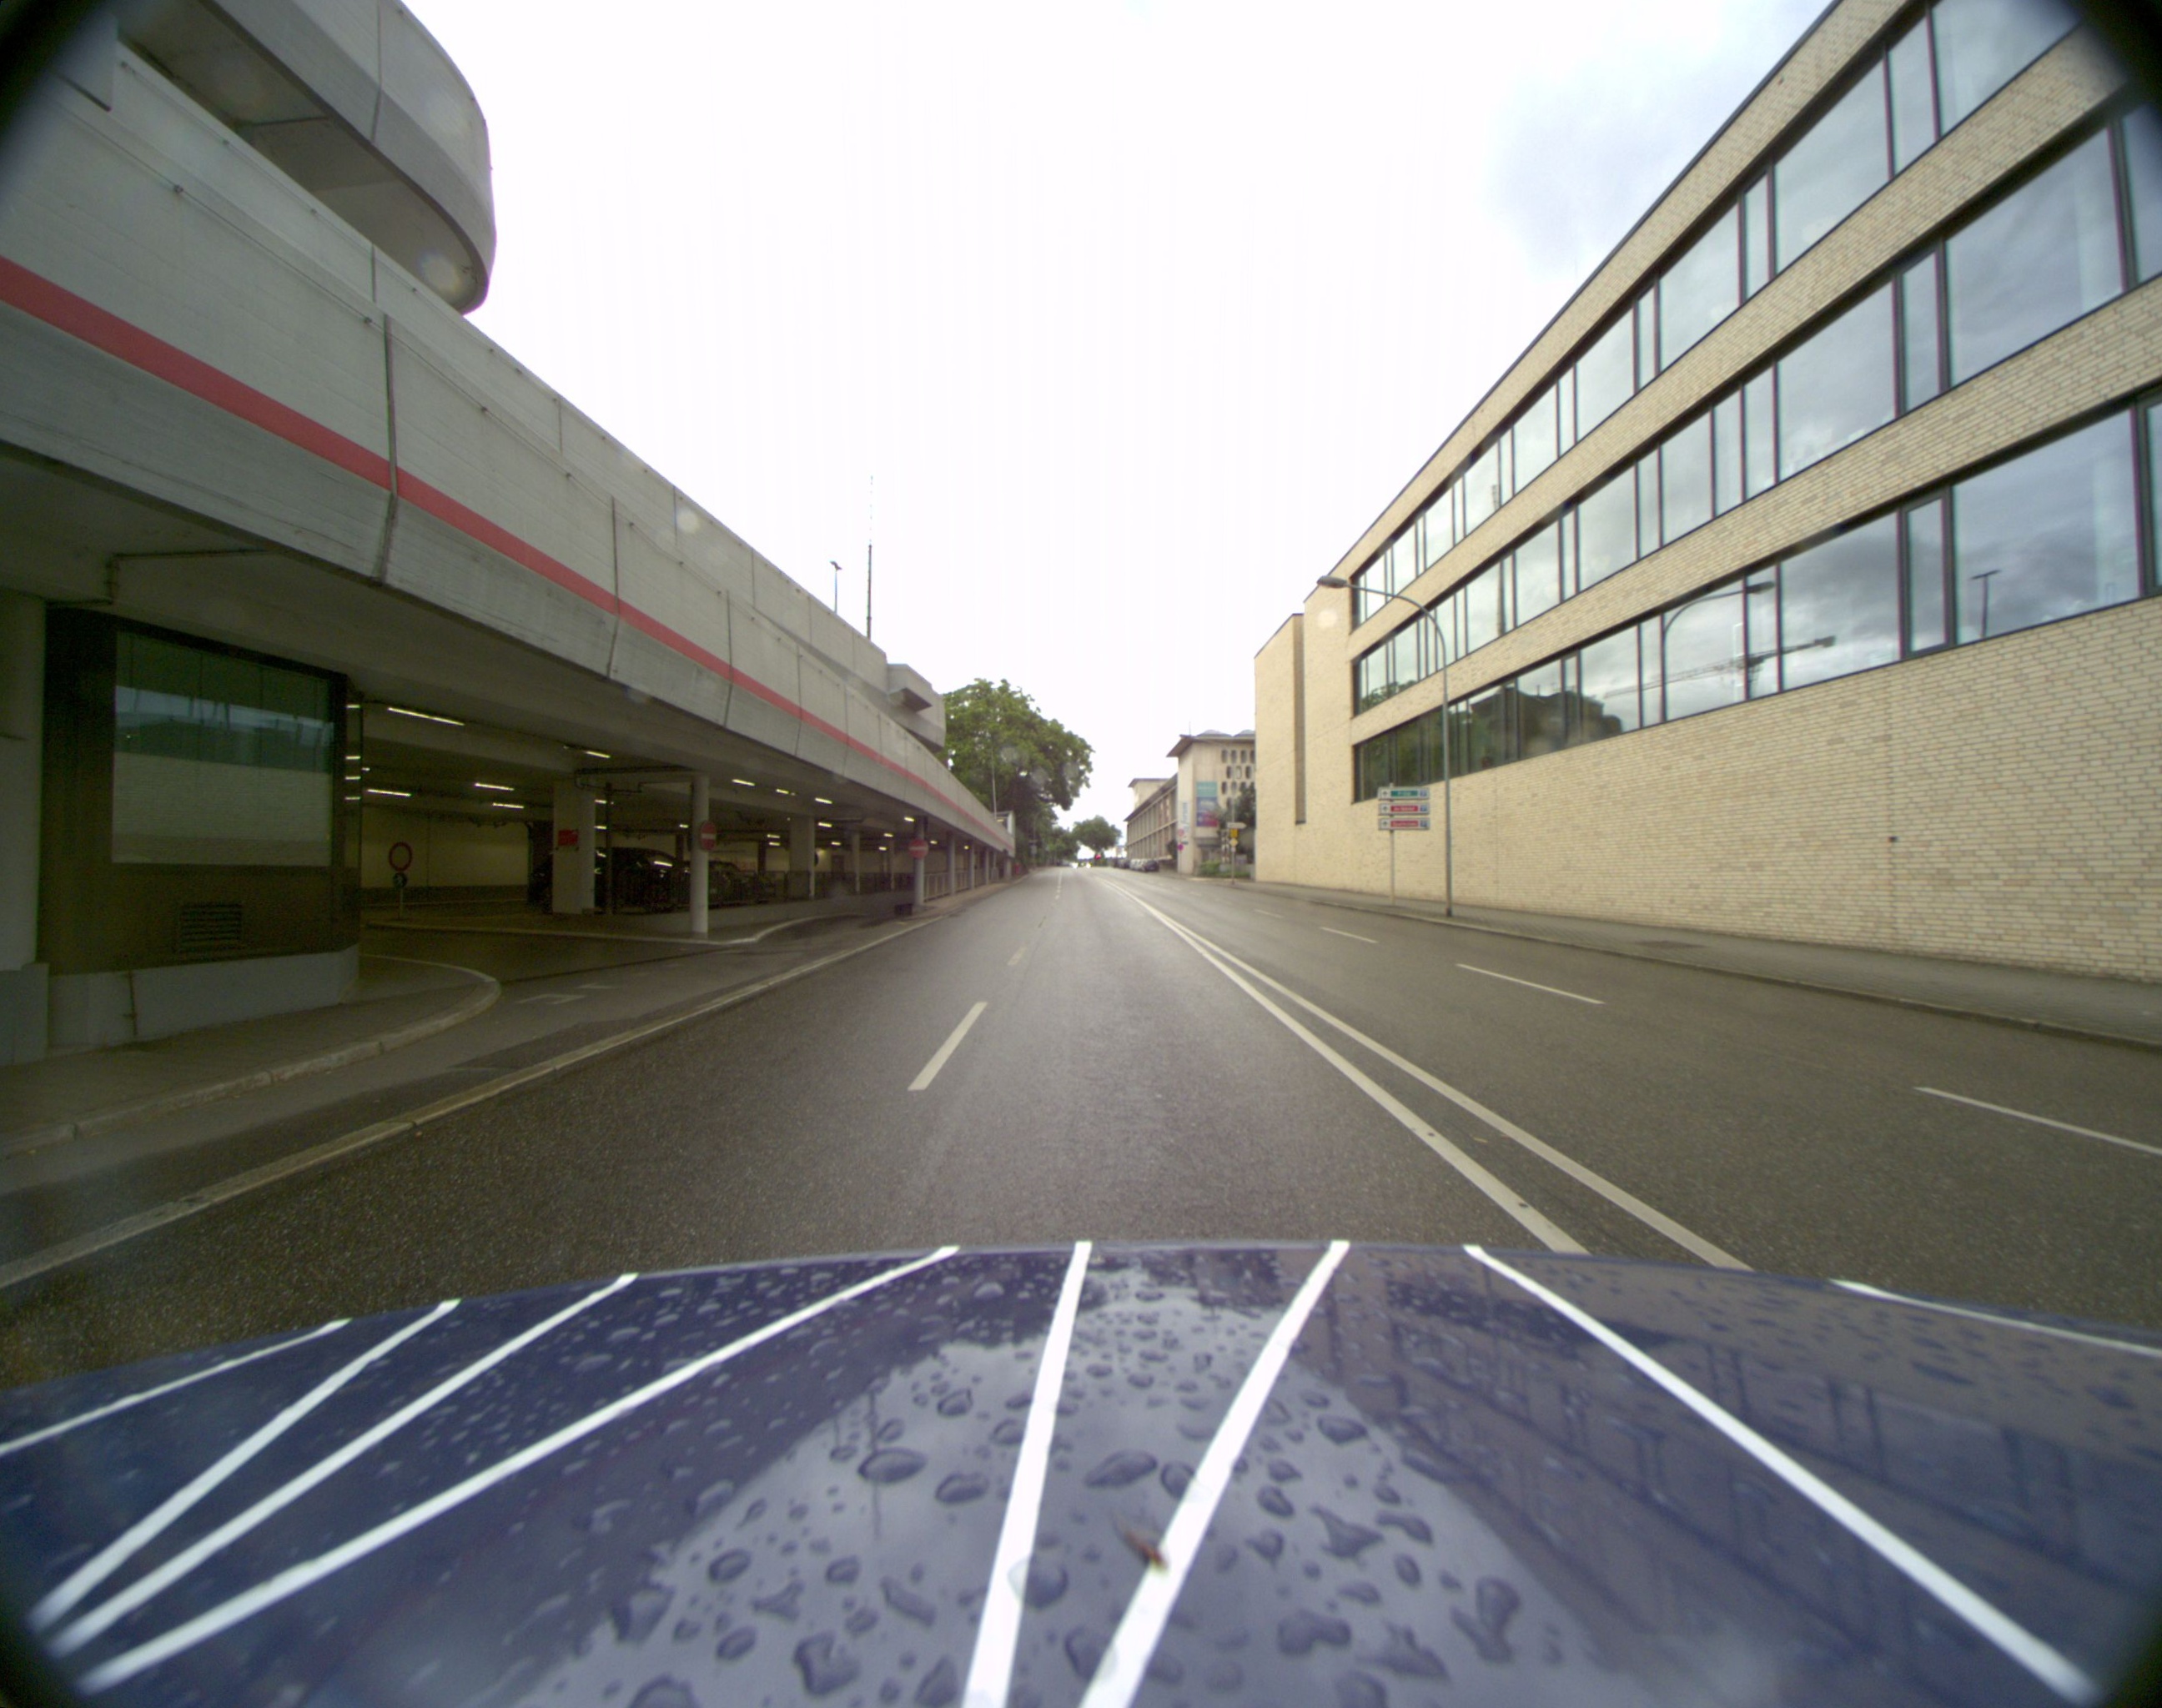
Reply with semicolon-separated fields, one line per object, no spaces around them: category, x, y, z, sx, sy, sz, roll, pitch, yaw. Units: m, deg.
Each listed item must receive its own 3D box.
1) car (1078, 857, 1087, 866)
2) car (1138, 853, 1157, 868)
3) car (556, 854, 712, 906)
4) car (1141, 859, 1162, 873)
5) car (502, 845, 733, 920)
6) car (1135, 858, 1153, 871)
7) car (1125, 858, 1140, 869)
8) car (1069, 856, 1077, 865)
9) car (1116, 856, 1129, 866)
car;0.300;1.840;191.851;1.806;2.002;3.997;-2;1;-6
car;8.398;0.813;96.552;1.999;1.632;3.999;-2;1;-1
car;-13.581;0.790;23.209;3.730;1.496;1.808;0;-1;5
car;8.445;1.436;90.989;1.999;1.520;3.999;-2;1;-2
car;-11.296;0.663;18.699;4.585;1.630;1.822;-2;1;5
car;8.441;1.419;101.863;1.998;1.503;3.999;-2;1;0
car;8.282;1.511;121.702;1.999;1.702;3.999;-3;1;-1
car;-2.110;1.707;201.485;1.998;2.002;3.999;-2;1;1
car;7.772;1.320;142.732;1.999;1.637;3.998;-3;2;-2
